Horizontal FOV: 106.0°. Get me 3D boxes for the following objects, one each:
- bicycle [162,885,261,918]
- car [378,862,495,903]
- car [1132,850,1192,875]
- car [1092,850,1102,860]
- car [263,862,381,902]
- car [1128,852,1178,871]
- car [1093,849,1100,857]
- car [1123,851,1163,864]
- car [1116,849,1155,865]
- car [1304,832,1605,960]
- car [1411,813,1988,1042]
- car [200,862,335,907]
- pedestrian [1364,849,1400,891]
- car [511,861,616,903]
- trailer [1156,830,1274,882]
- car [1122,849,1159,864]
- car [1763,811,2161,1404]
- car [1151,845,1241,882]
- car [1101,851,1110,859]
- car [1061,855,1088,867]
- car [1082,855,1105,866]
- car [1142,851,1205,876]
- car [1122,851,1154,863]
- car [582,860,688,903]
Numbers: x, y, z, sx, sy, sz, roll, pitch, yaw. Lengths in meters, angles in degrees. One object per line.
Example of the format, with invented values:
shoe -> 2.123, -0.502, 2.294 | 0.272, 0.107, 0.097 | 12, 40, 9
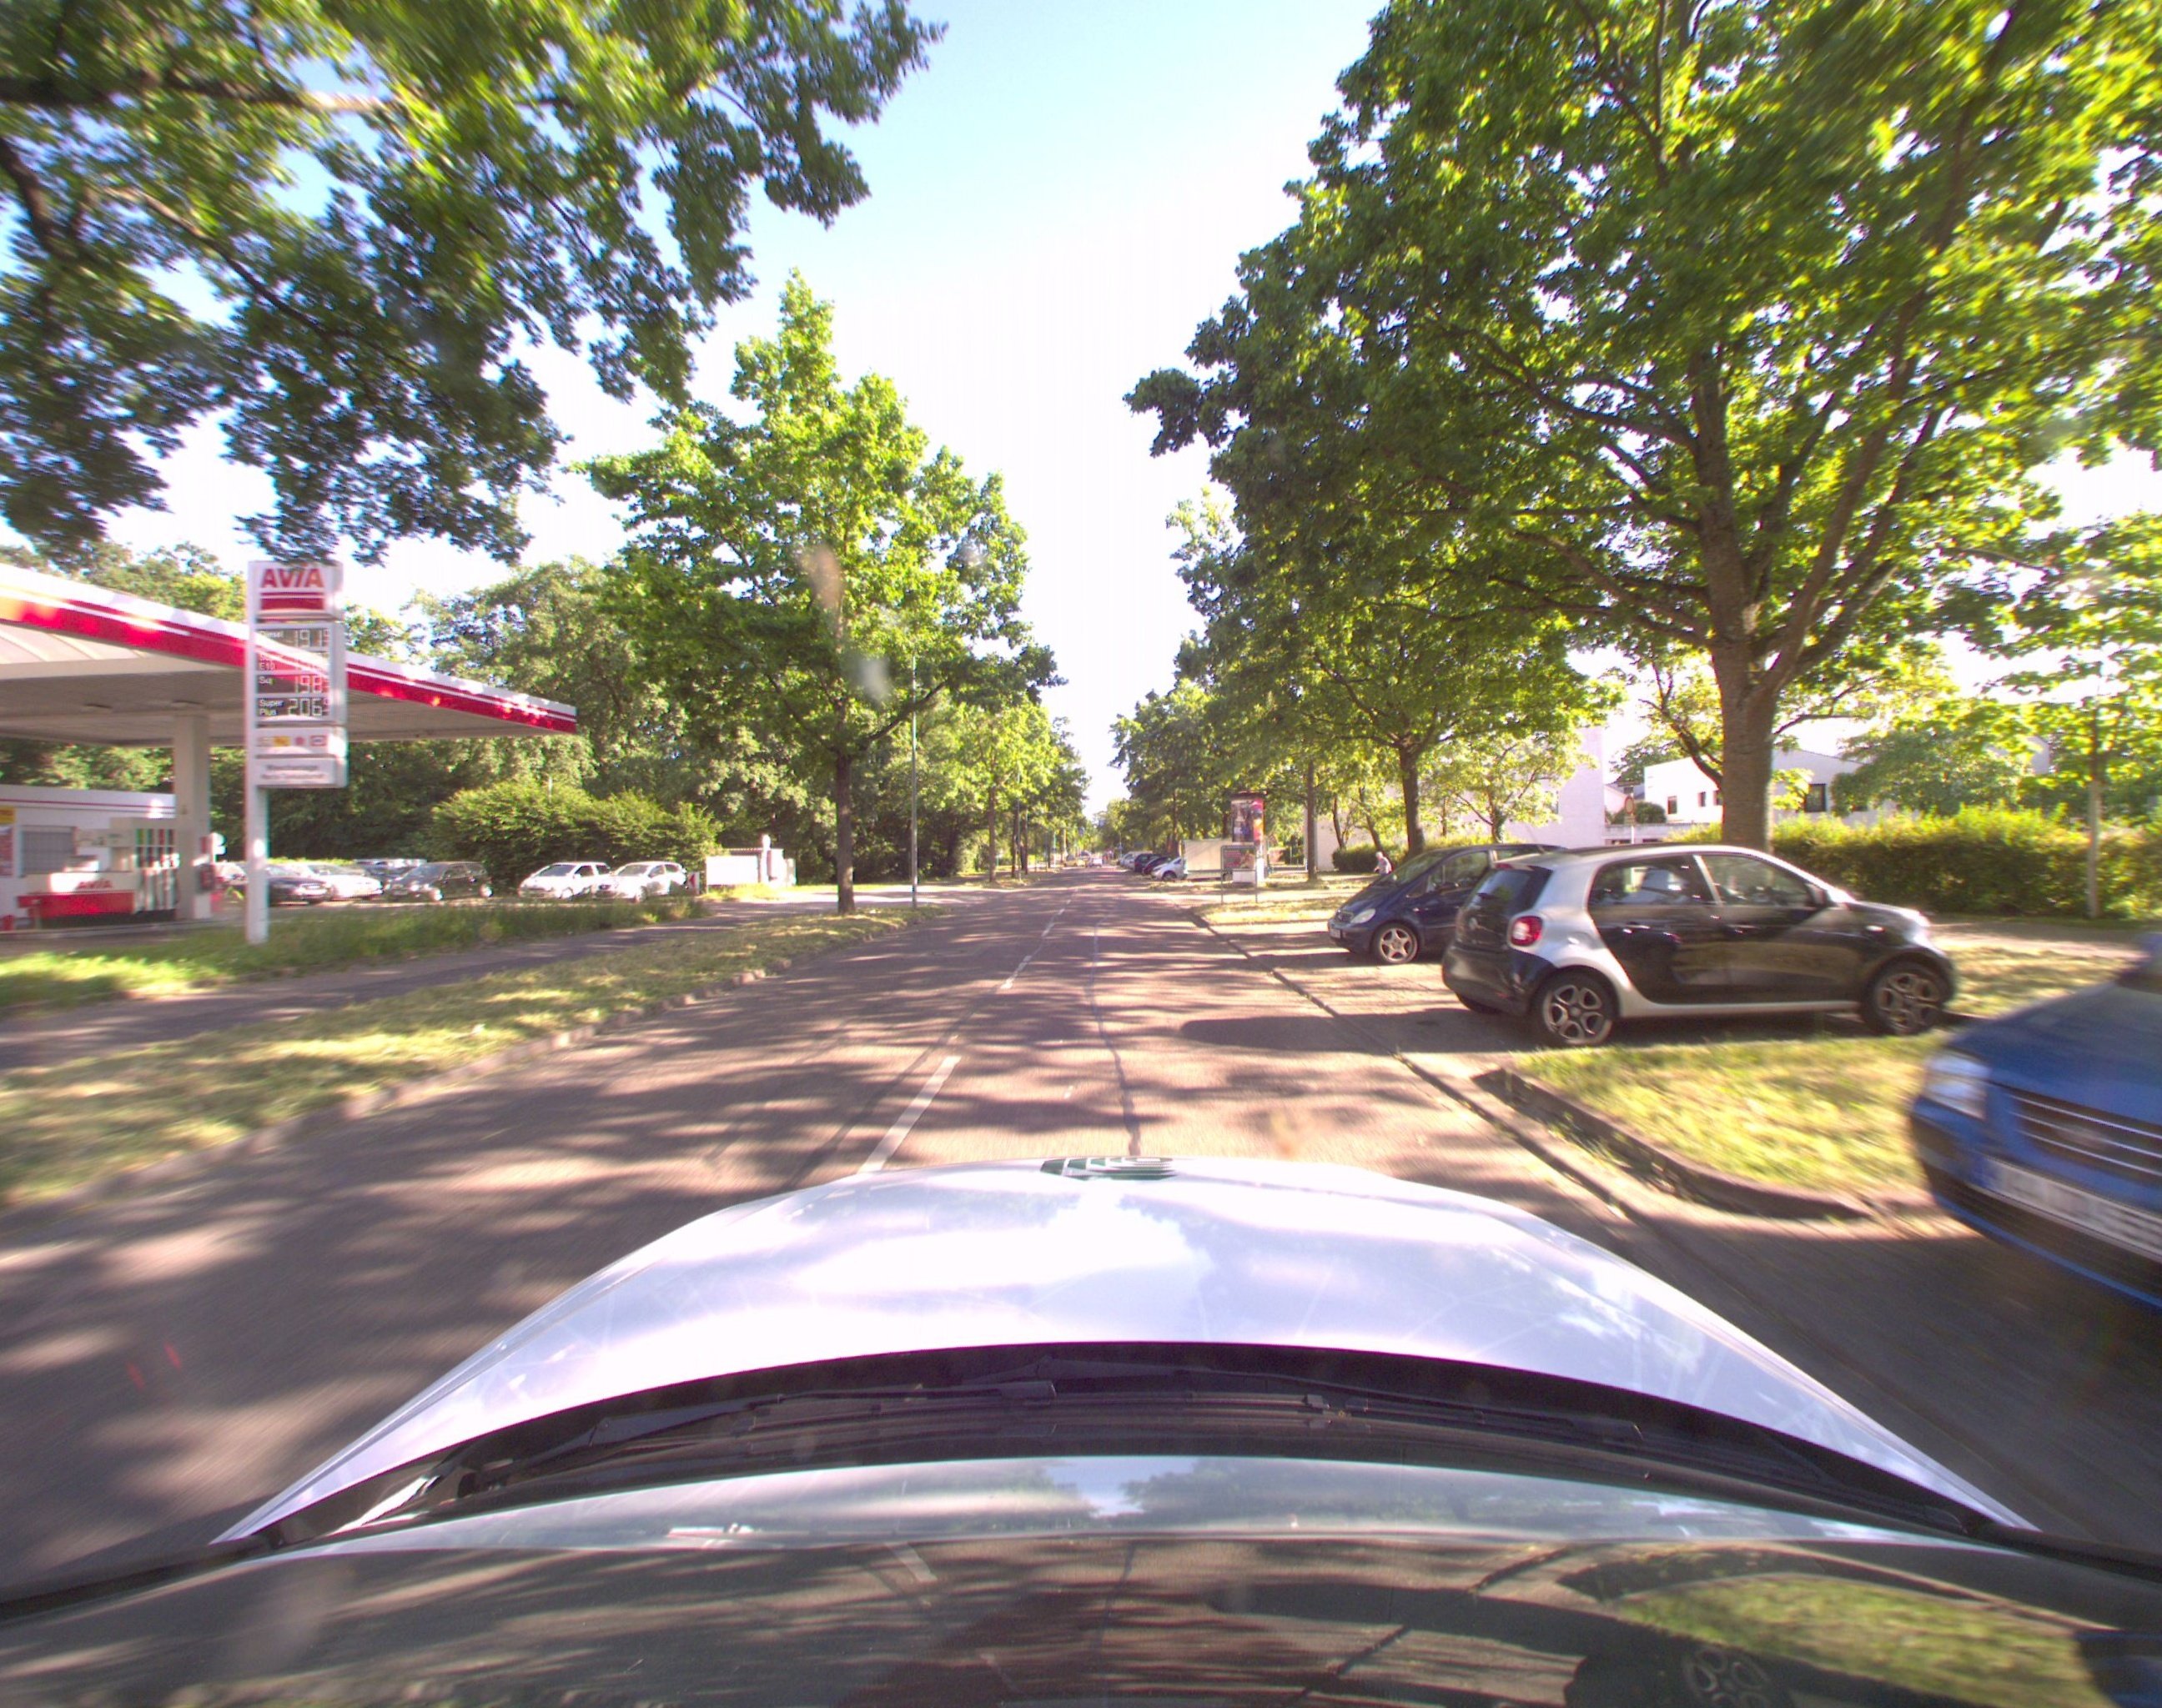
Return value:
bicycle -> -24.007, 1.302, 22.533 | 0.613, 0.807, 1.787 | -1, 0, 16
car -> -23.317, 0.995, 29.600 | 1.414, 1.367, 3.213 | 1, 0, 9
car -> 6.324, 0.659, 64.053 | 4.514, 1.801, 1.936 | -2, 0, 1
car -> 3.228, 0.220, 167.310 | 1.987, 1.933, 4.000 | 0, 0, 0
car -> -27.696, 1.000, 29.773 | 3.176, 1.317, 1.463 | 1, 0, 8
car -> 6.881, 0.702, 78.396 | 4.654, 1.580, 1.917 | -3, 0, 1
car -> 4.172, -0.222, 217.843 | 1.987, 1.968, 4.000 | 0, 0, 0
car -> 7.129, 0.419, 93.538 | 4.430, 1.390, 1.911 | -2, 0, 0
car -> 7.399, 0.425, 111.454 | 5.171, 2.105, 2.082 | -2, 0, -1
car -> 5.360, 0.573, 12.054 | 3.572, 1.576, 1.857 | -3, 0, 0
car -> 5.024, 0.565, 7.059 | 3.569, 1.576, 1.787 | -3, 0, 2
car -> -27.086, 0.990, 27.161 | 3.176, 1.400, 1.589 | 1, 0, 8
pedestrian -> 11.184, 0.592, 30.267 | 0.948, 1.500, 0.874 | -3, 0, -41
car -> -18.769, 0.971, 29.698 | 1.414, 1.367, 3.213 | 1, 0, 9
trailer -> 6.787, 0.104, 41.685 | 5.751, 2.317, 1.687 | -3, 0, 2
car -> 7.354, 0.269, 101.144 | 4.371, 1.651, 1.850 | -3, 0, -1
car -> 4.544, 0.583, 2.451 | 3.507, 1.532, 1.666 | -3, 0, 2
car -> 6.200, 0.514, 44.491 | 4.625, 1.722, 1.988 | -3, 0, 1
car -> 5.605, 0.202, 188.254 | 1.987, 1.716, 4.000 | 0, 0, 0
car -> -1.012, 1.078, 123.600 | 2.012, 1.655, 3.950 | -1, 0, -45
car -> 1.728, 0.924, 115.666 | 2.000, 1.484, 3.973 | -1, 0, -20
car -> 6.460, 0.657, 57.341 | 4.229, 1.519, 2.079 | -2, 0, 2
car -> 7.203, 0.398, 103.681 | 3.971, 1.433, 1.902 | -1, 0, 2
car -> -16.230, 0.970, 29.807 | 1.537, 1.422, 3.496 | 1, 0, 9
